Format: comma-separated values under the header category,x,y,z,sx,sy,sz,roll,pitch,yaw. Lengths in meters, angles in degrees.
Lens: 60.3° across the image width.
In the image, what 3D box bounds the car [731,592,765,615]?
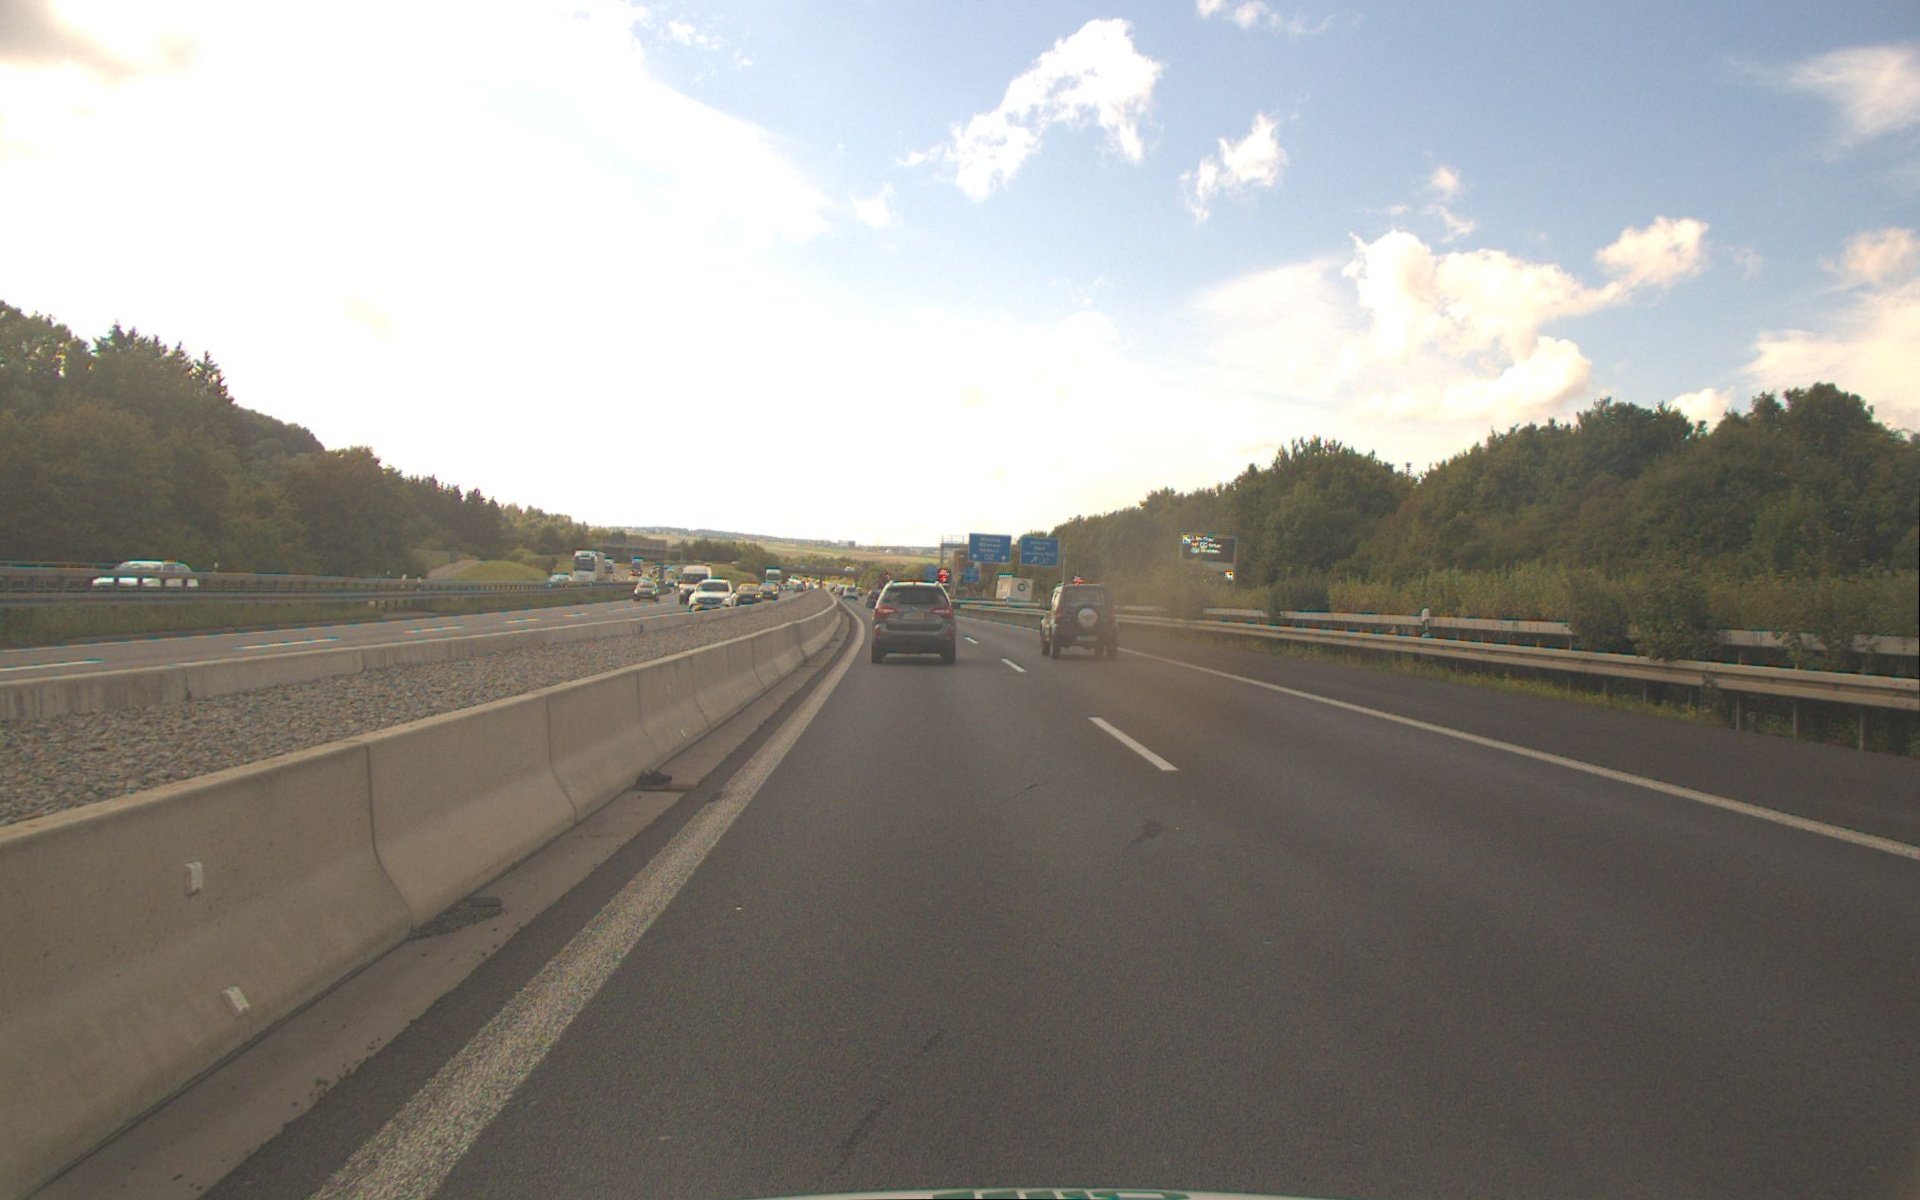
category,x,y,z,sx,sy,sz,roll,pitch,yaw
car,-14.276,0.242,111.712,1.887,1.460,4.774,1,0,-3

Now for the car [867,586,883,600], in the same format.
category,x,y,z,sx,sy,sz,roll,pitch,yaw
car,-12.473,-1.029,242.183,1.956,1.963,3.993,1,-1,-7

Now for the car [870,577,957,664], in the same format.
category,x,y,z,sx,sy,sz,roll,pitch,yaw
car,-1.066,0.454,37.142,1.781,1.766,5.184,1,-1,-2

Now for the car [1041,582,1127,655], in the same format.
category,x,y,z,sx,sy,sz,roll,pitch,yaw
car,2.935,0.411,39.858,1.555,1.625,4.093,1,0,-3

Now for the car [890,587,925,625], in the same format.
category,x,y,z,sx,sy,sz,roll,pitch,yaw
car,-3.111,0.334,99.135,1.989,2.189,3.999,1,0,-1

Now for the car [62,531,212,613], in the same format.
category,x,y,z,sx,sy,sz,roll,pitch,yaw
car,-24.630,-0.801,49.747,1.953,2.272,5.145,2,0,-1

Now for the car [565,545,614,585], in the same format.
category,x,y,z,sx,sy,sz,roll,pitch,yaw
car,-41.409,-3.802,185.463,3.744,4.151,14.807,1,0,-7

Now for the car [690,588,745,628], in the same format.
category,x,y,z,sx,sy,sz,roll,pitch,yaw
car,-10.674,0.342,73.107,1.805,1.639,5.133,1,0,-2

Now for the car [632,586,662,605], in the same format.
category,x,y,z,sx,sy,sz,roll,pitch,yaw
car,-23.175,-0.325,122.600,1.594,1.316,4.752,1,0,-3

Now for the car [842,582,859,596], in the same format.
category,x,y,z,sx,sy,sz,roll,pitch,yaw
car,-14.198,-1.386,214.689,1.955,1.713,3.994,1,-1,-6

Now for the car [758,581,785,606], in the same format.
category,x,y,z,sx,sy,sz,roll,pitch,yaw
car,-16.317,-0.536,143.250,1.954,2.049,4.270,2,0,-3

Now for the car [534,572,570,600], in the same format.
category,x,y,z,sx,sy,sz,roll,pitch,yaw
car,-31.678,-1.062,128.505,1.954,2.049,4.270,2,0,-3

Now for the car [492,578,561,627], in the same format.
category,x,y,z,sx,sy,sz,roll,pitch,yaw
car,-16.278,0.073,62.286,1.691,1.729,4.150,1,0,-3

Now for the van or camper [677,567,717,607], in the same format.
category,x,y,z,sx,sy,sz,roll,pitch,yaw
van or camper,-18.437,-0.893,116.194,1.947,2.670,6.859,1,0,-3

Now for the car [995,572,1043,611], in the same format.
category,x,y,z,sx,sy,sz,roll,pitch,yaw
car,7.007,-0.988,198.662,4.634,4.340,11.397,2,0,-3
